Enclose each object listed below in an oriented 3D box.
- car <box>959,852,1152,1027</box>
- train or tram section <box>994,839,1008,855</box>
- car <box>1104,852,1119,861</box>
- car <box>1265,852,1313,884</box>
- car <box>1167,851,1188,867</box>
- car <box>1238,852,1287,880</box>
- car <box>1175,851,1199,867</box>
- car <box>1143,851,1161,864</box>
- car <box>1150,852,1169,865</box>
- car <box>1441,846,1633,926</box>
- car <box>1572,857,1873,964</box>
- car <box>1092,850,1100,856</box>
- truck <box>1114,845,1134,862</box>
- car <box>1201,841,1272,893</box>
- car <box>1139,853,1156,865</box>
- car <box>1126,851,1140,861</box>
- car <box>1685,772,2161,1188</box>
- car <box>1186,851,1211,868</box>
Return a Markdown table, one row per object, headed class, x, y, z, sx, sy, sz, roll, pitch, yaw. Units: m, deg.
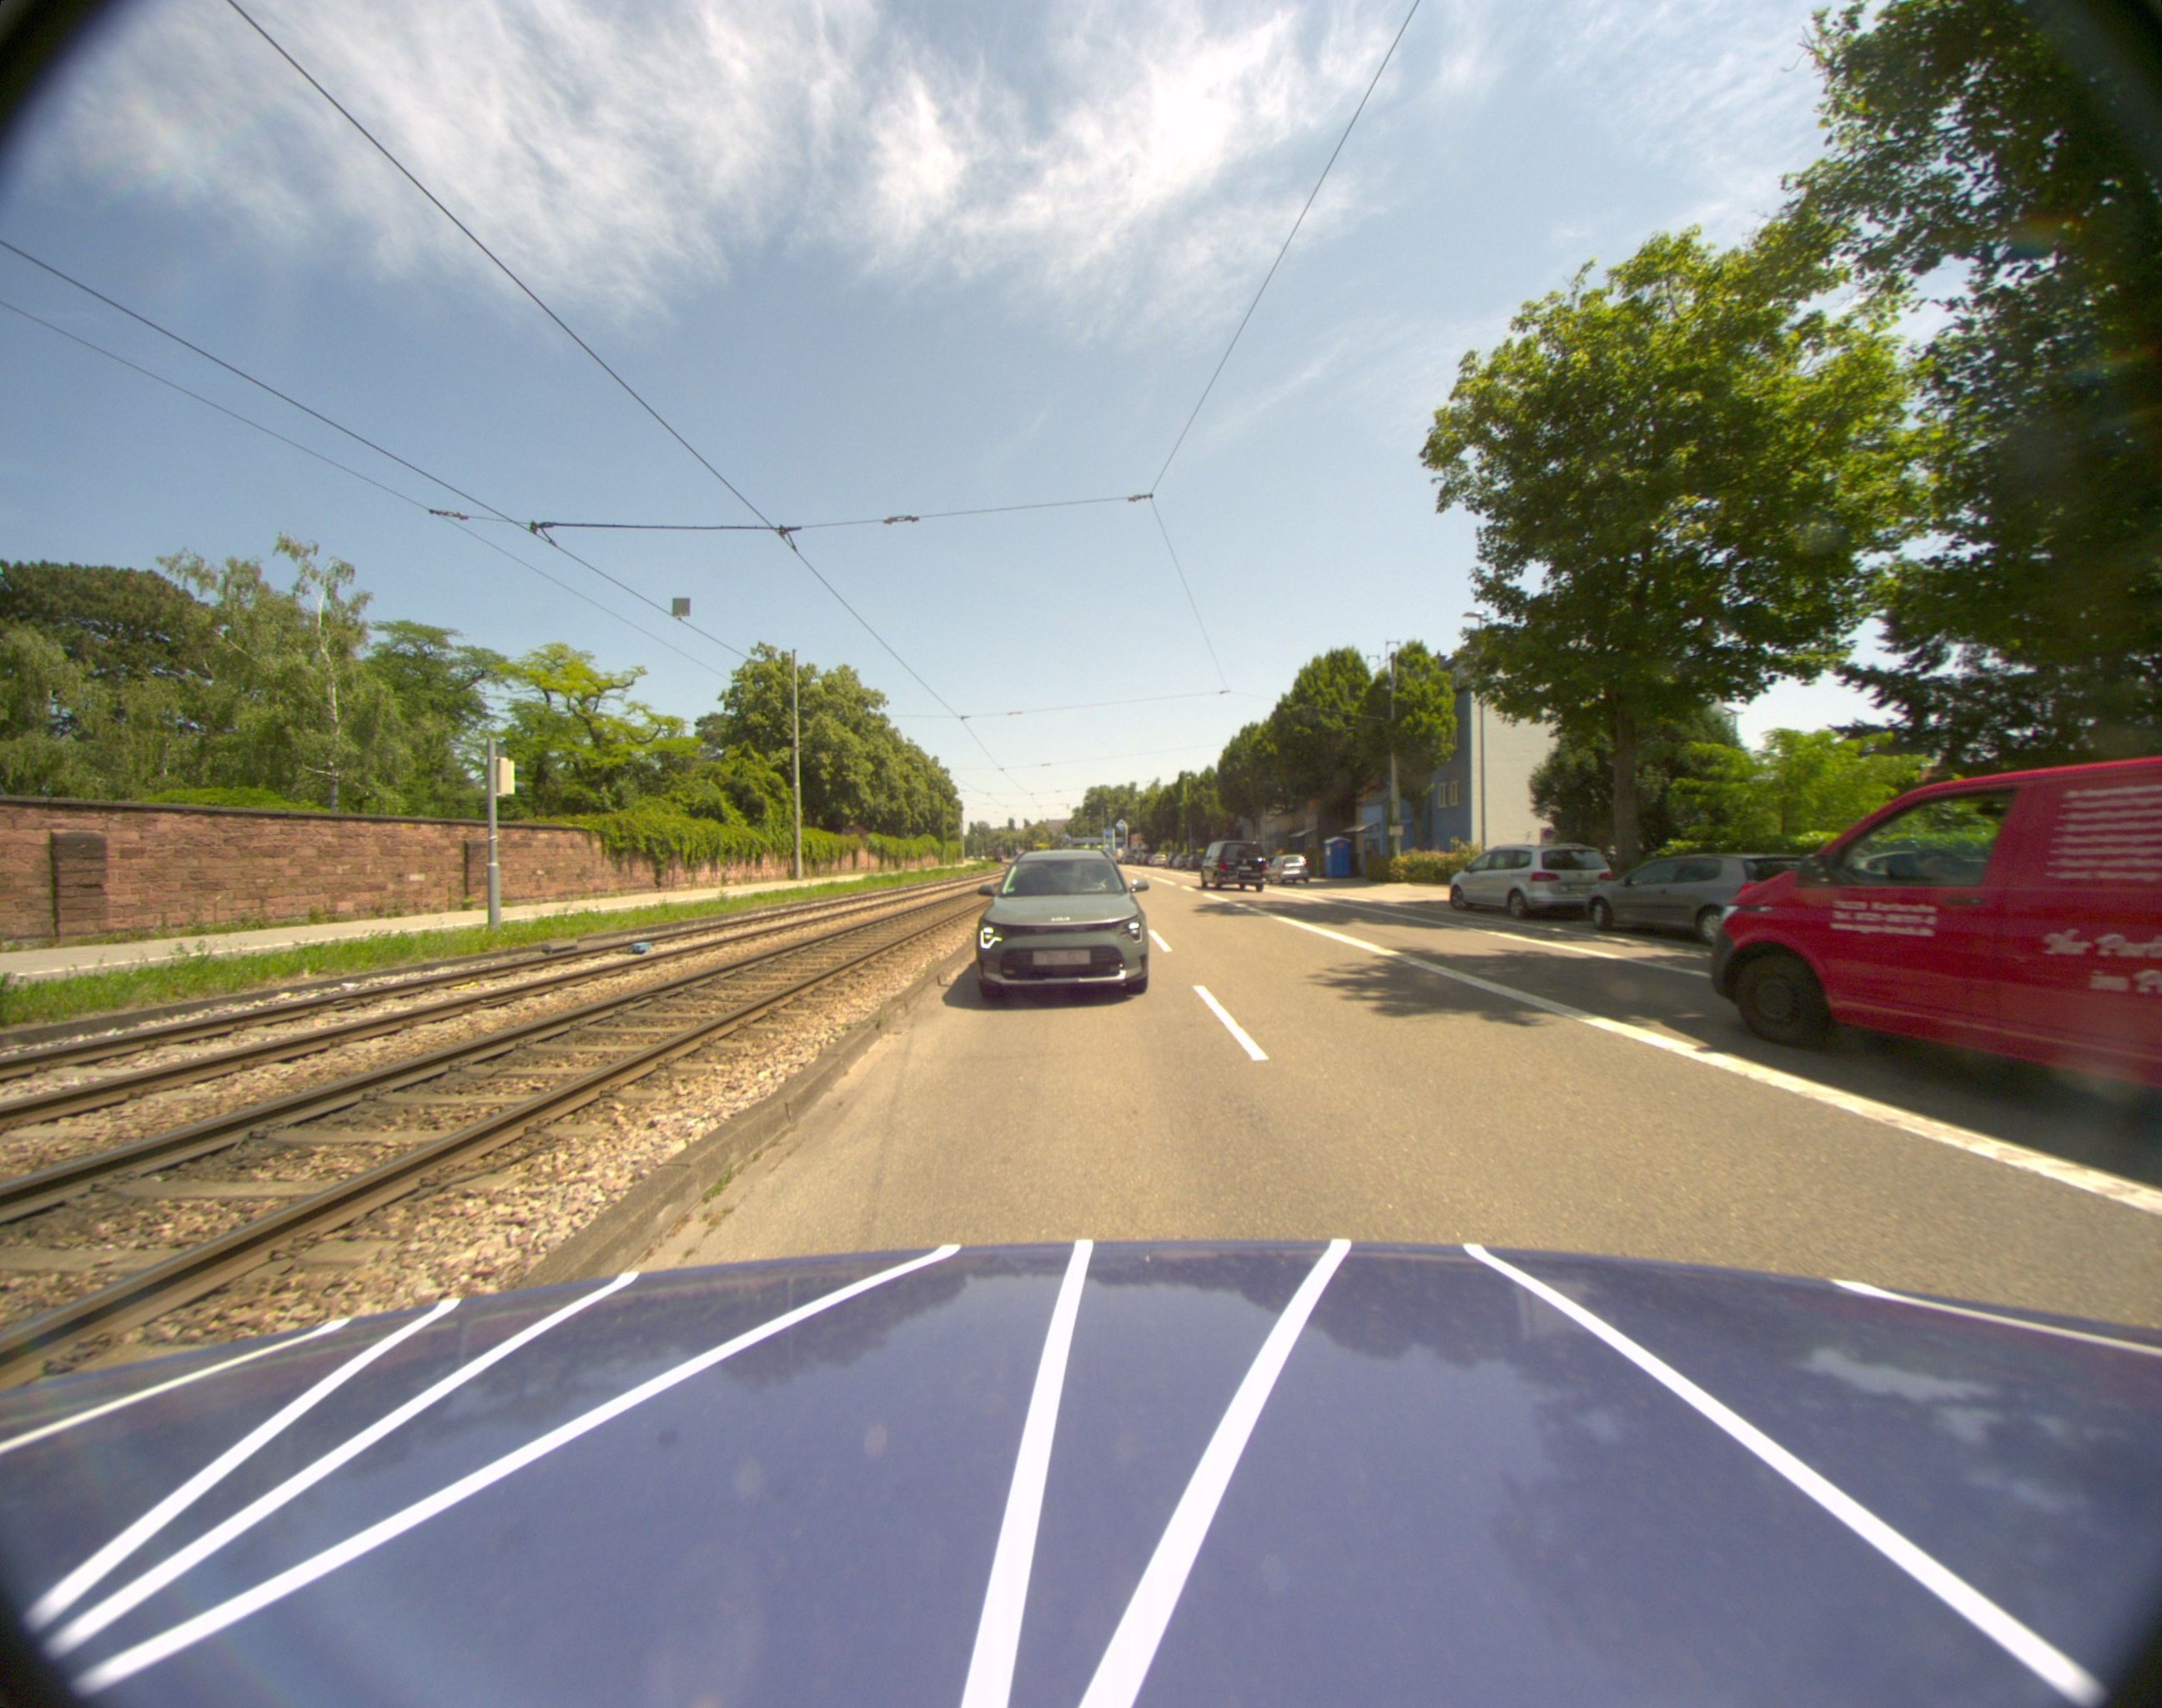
| class | x | y | z | sx | sy | sz | roll | pitch | yaw |
| --- | --- | --- | --- | --- | --- | --- | --- | --- | --- |
| car | -0.233 | 0.808 | 9.402 | 1.759 | 1.574 | 4.426 | -2 | 0 | 0 |
| train or tram section | -20.440 | -1.809 | 194.841 | 2.814 | 3.785 | 14.256 | -2 | 1 | -3 |
| car | 5.238 | 0.400 | 132.114 | 1.866 | 1.487 | 3.468 | -4 | 0 | -9 |
| car | 11.020 | 0.716 | 40.505 | 1.505 | 1.487 | 3.281 | -4 | 0 | -1 |
| car | 10.503 | 0.509 | 83.000 | 1.656 | 1.578 | 4.081 | -4 | 0 | -1 |
| car | 10.806 | 0.692 | 45.486 | 1.680 | 1.487 | 4.638 | -4 | 0 | -1 |
| car | 10.750 | 0.467 | 77.134 | 1.656 | 1.487 | 4.081 | -4 | 0 | -1 |
| car | 9.396 | 0.445 | 100.403 | 1.865 | 1.487 | 3.470 | -4 | 0 | -1 |
| car | 9.747 | 0.499 | 94.554 | 1.723 | 1.487 | 4.081 | -4 | 0 | -1 |
| car | 10.849 | 0.668 | 18.582 | 1.975 | 1.679 | 4.687 | -1 | 0 | 2 |
| car | 10.636 | 0.825 | 13.071 | 1.680 | 1.478 | 4.127 | -1 | 0 | 0 |
| car | 3.667 | -0.286 | 191.383 | 1.865 | 1.487 | 3.469 | 0 | 0 | -2 |
| truck | 6.740 | -0.103 | 120.285 | 2.135 | 2.565 | 4.860 | 0 | 0 | -9 |
| car | 6.140 | 0.476 | 30.540 | 1.923 | 1.899 | 4.570 | 1 | 0 | 0 |
| car | 9.203 | 0.690 | 105.574 | 1.865 | 1.487 | 3.470 | -4 | 0 | -1 |
| car | 7.838 | 0.321 | 114.223 | 1.865 | 1.487 | 3.470 | 0 | 0 | -1 |
| car | 5.937 | 0.598 | 3.783 | 1.904 | 1.915 | 4.819 | 1 | 0 | -1 |
| car | 11.138 | 0.503 | 72.233 | 1.656 | 1.487 | 4.081 | -4 | 0 | -1 |
